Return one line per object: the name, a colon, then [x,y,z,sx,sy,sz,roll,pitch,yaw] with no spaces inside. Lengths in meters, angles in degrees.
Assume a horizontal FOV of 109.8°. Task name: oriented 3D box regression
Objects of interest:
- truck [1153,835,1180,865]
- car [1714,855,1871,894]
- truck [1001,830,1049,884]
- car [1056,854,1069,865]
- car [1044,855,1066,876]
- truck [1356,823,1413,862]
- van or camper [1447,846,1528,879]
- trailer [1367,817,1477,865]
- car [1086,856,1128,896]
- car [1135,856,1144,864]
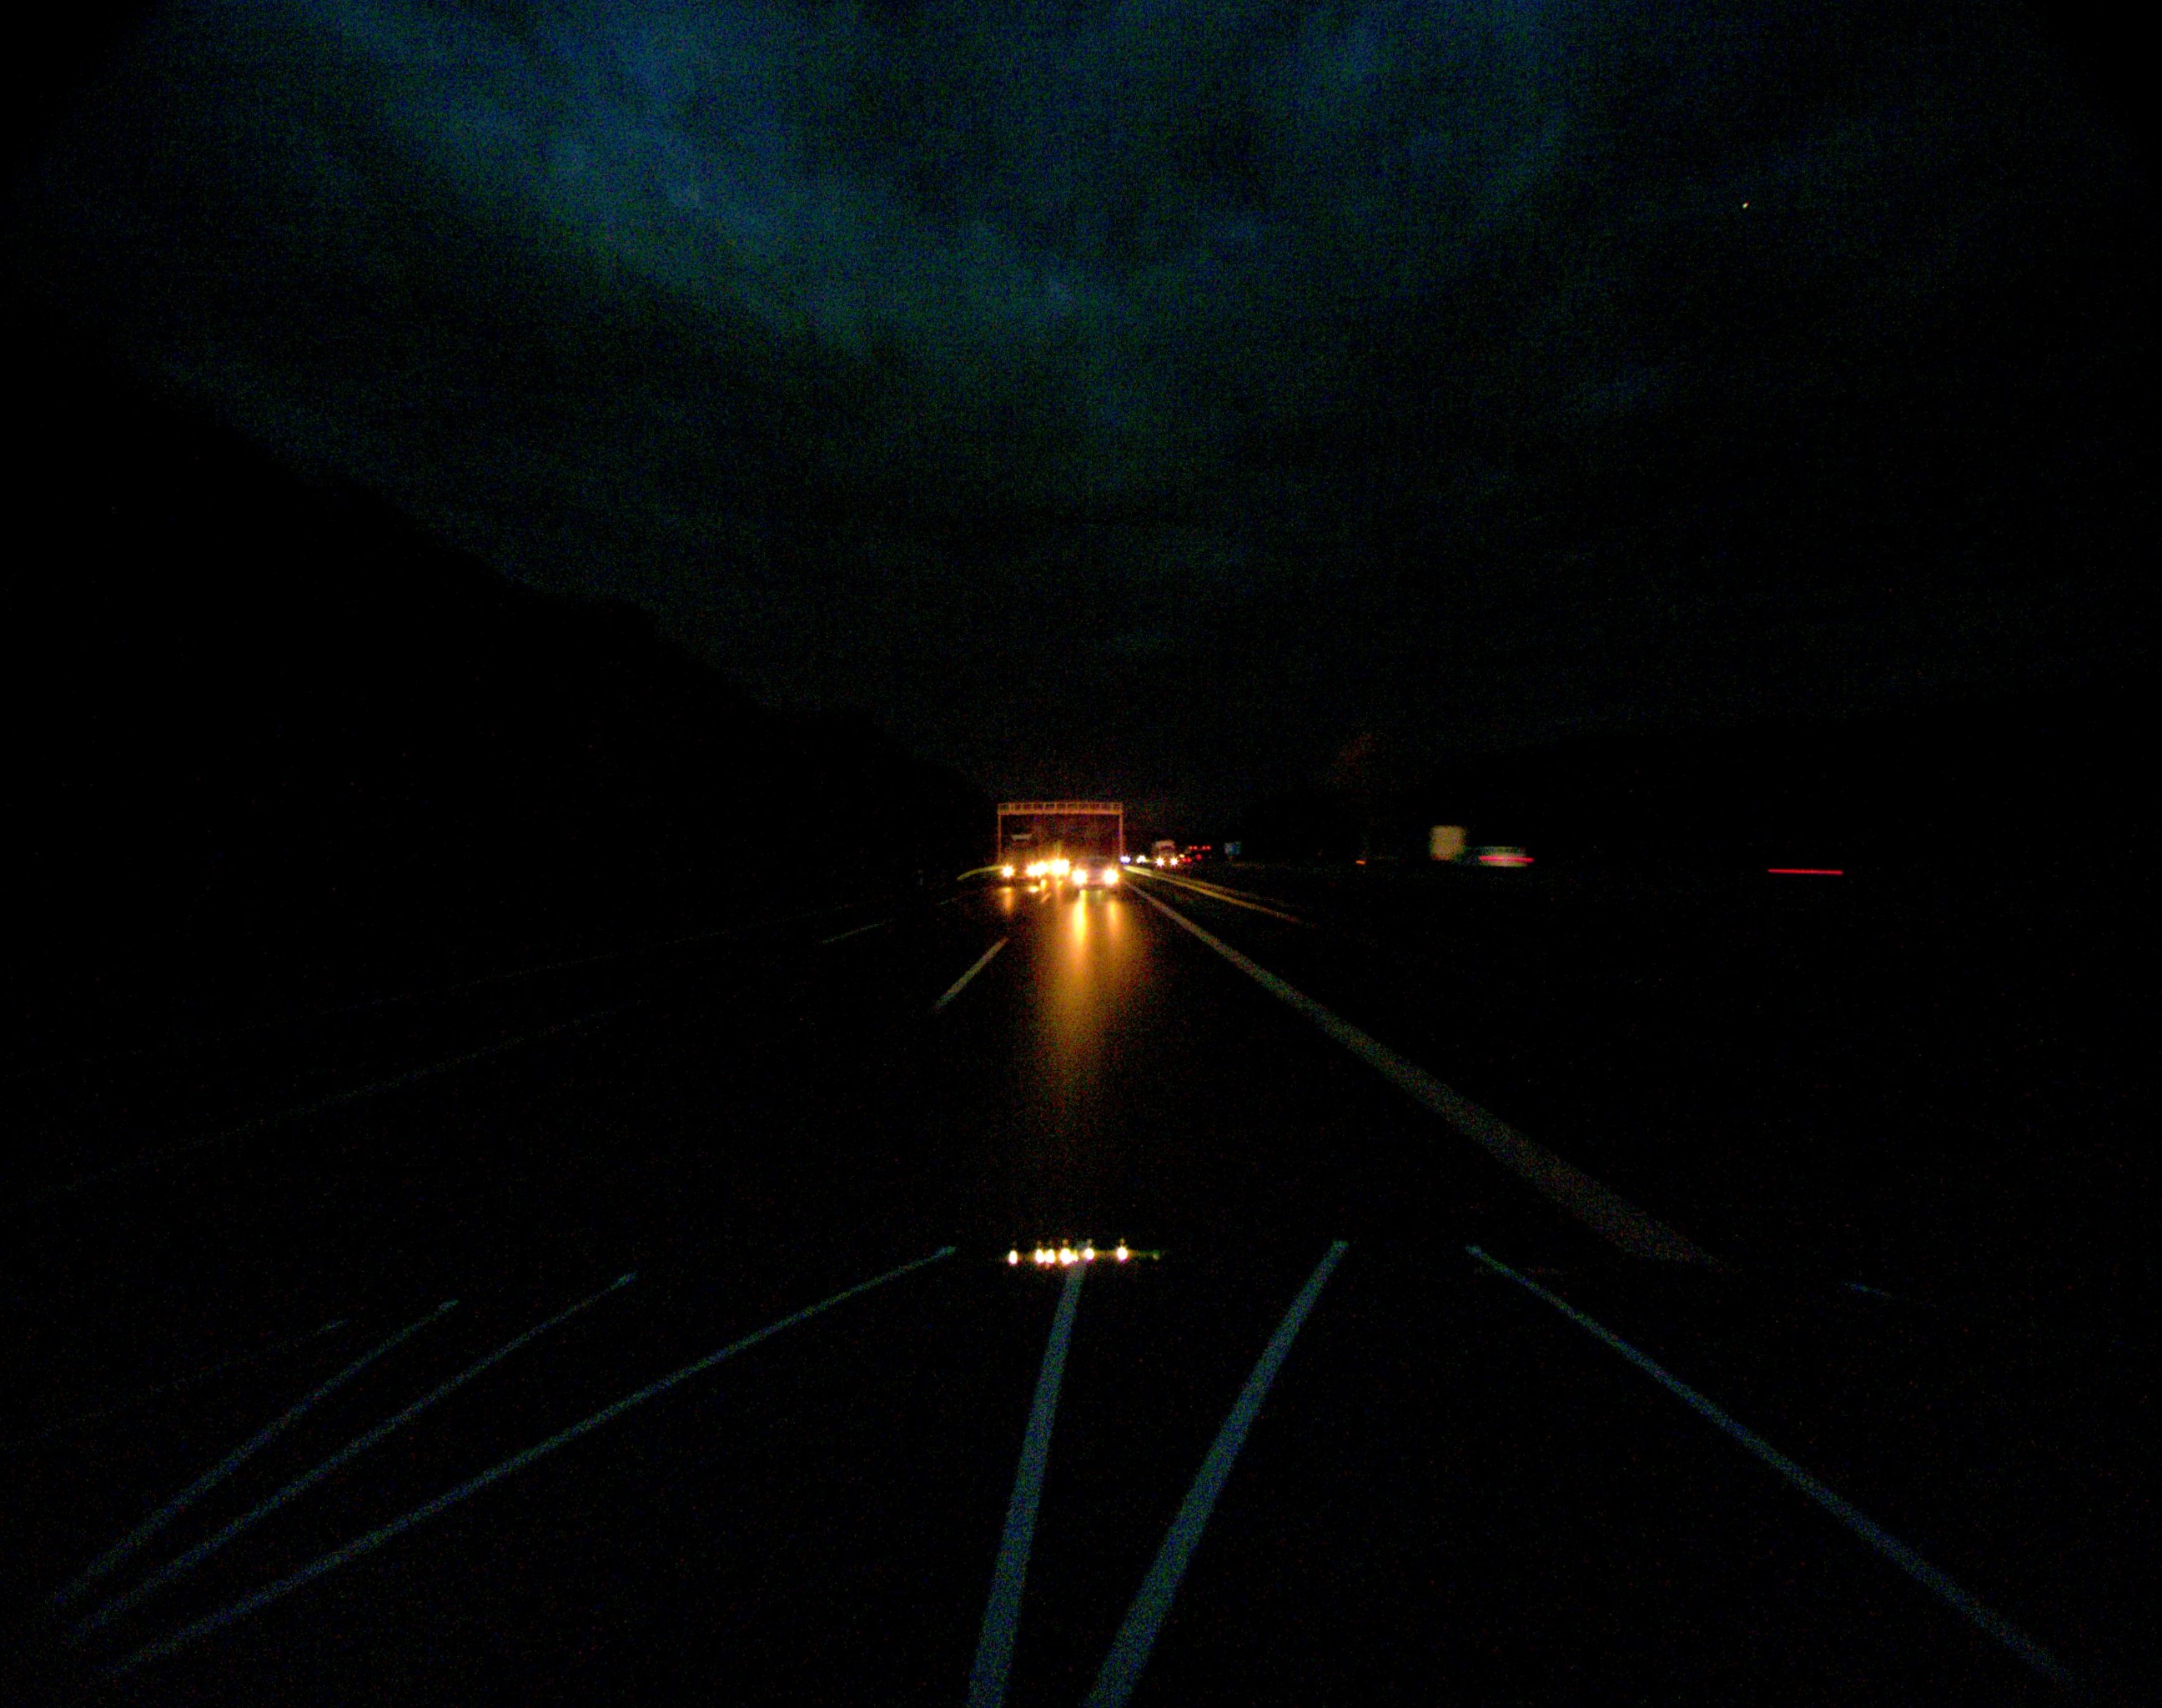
truck: [12.930,-0.607,116.052,3.046,4.276,9.890,0,0,0]
car: [25.522,0.687,27.493,1.756,1.243,4.212,0,0,1]
truck: [-3.279,0.176,45.934,2.274,2.954,6.631,-2,0,0]
car: [-2.840,0.800,115.975,1.803,1.483,5.116,-3,0,-2]
car: [-1.961,0.871,58.104,1.615,1.546,3.318,0,0,-1]
truck: [29.204,-1.061,73.368,3.318,3.598,5.497,0,1,0]
van or camper: [24.762,0.498,46.571,1.895,1.895,5.540,-1,0,-1]
trailer: [29.191,-1.076,66.111,3.335,3.743,13.884,0,0,0]
car: [1.044,0.889,31.847,1.669,1.551,3.757,0,0,1]
car: [13.962,1.431,181.921,1.833,1.674,4.229,-2,0,0]
